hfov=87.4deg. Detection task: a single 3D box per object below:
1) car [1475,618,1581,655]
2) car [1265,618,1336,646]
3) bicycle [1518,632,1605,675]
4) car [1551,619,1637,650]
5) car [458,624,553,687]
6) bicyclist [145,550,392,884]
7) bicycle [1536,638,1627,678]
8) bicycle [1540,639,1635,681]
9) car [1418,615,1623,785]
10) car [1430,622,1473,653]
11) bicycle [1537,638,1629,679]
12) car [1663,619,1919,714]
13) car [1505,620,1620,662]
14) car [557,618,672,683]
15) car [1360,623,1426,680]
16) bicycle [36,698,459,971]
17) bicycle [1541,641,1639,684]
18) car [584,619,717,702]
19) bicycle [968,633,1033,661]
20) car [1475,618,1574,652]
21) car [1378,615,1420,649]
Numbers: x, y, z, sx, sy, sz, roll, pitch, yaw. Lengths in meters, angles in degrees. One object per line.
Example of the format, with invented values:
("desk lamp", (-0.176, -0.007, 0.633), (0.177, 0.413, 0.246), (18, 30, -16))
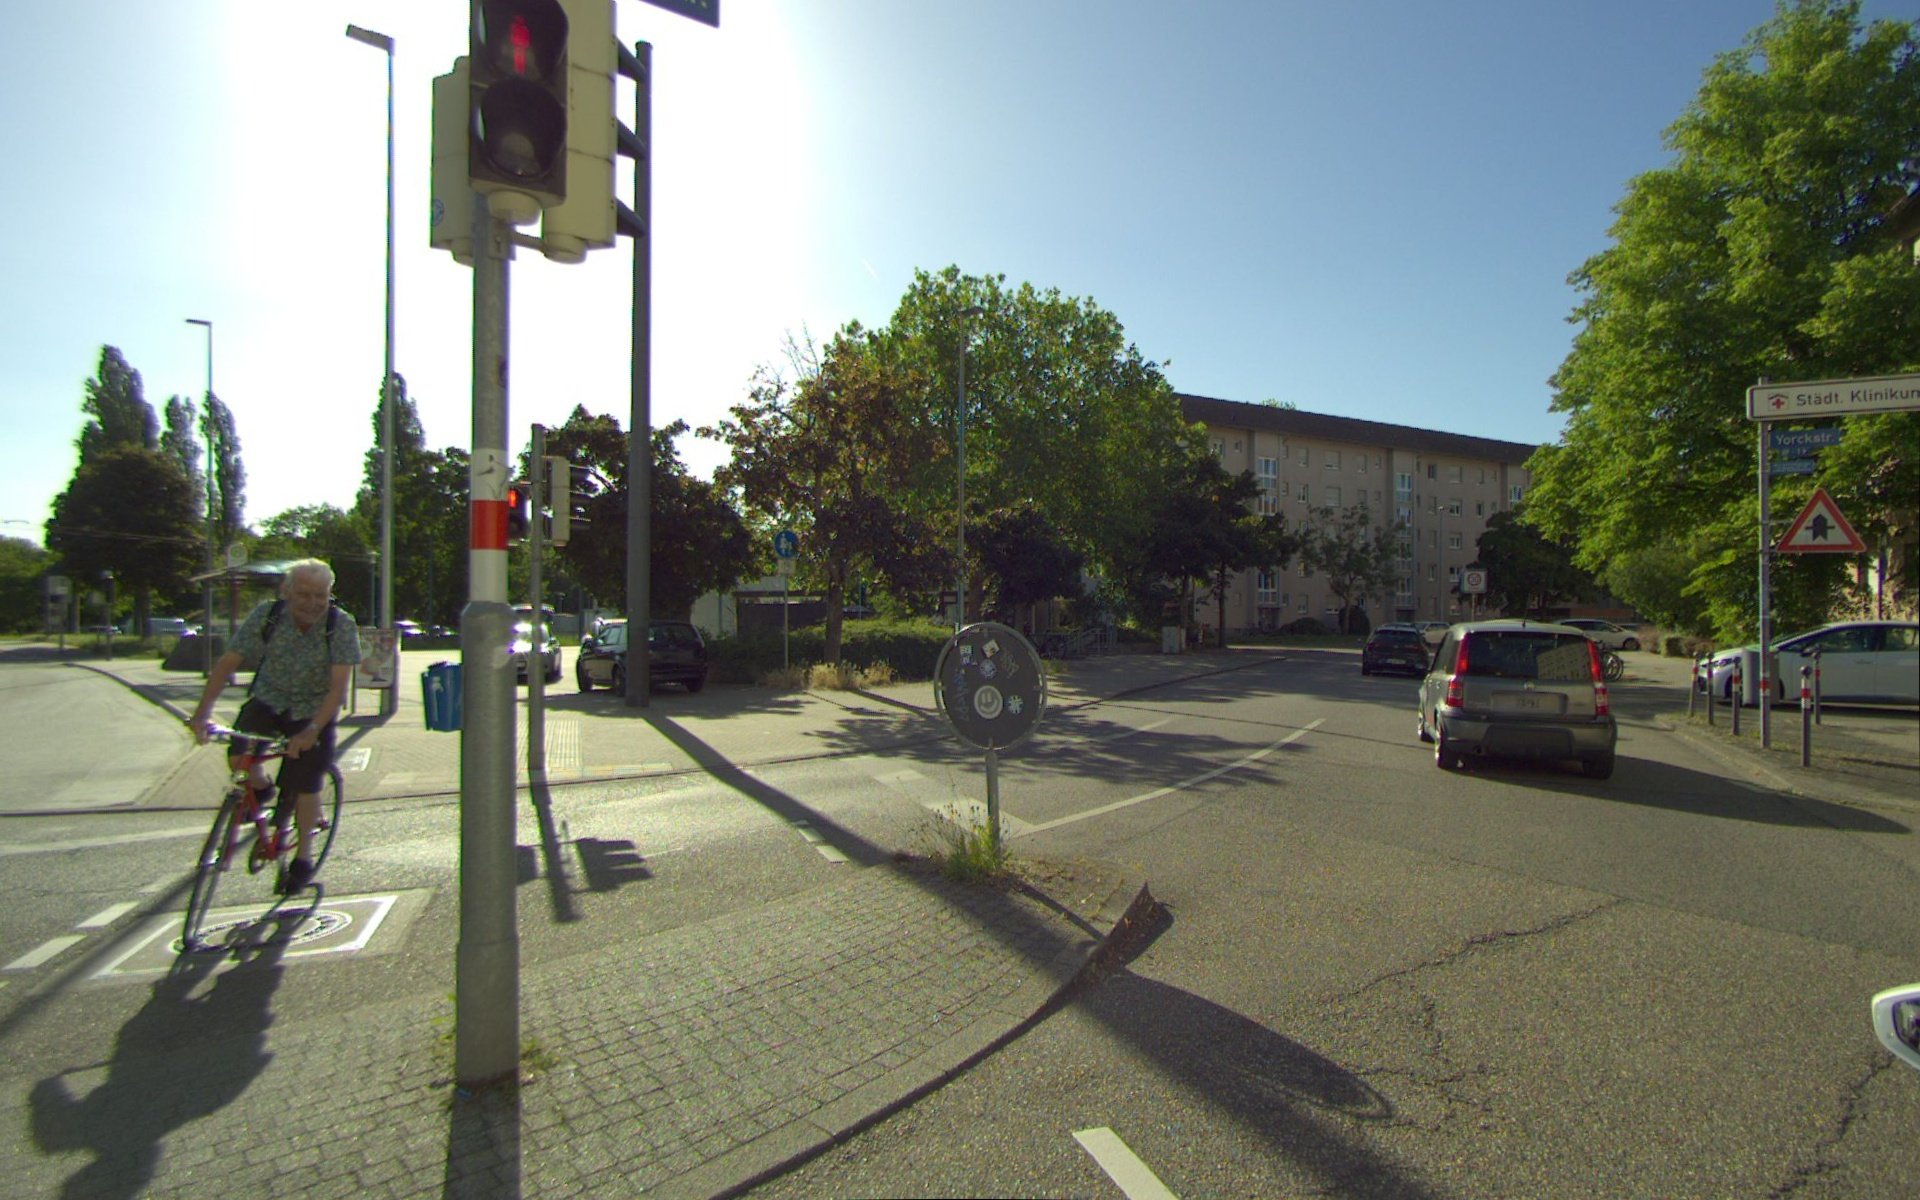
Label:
("car", (23.841, 1.518, 42.208), (3.521, 1.501, 1.622), (0, -1, 2))
("car", (22.838, 2.157, 67.516), (2.042, 1.821, 4.395), (1, -2, -27))
("bicycle", (17.138, 1.526, 28.660), (1.994, 1.192, 0.668), (-1, -1, 18))
("car", (31.515, 1.701, 49.994), (3.531, 1.501, 1.617), (-1, -1, 33))
("car", (-12.069, 1.398, 26.575), (1.667, 1.528, 3.561), (1, -1, -35))
("bicyclist", (-3.458, 0.565, 5.083), (0.812, 1.584, 0.596), (0, -1, -2))
("bicycle", (16.590, 1.549, 26.850), (1.994, 1.044, 0.448), (-1, -1, 18))
("bicycle", (16.142, 1.544, 25.886), (1.994, 1.044, 0.571), (-1, -1, 18))
("car", (6.053, 0.976, 11.174), (1.590, 1.582, 3.256), (0, -1, 22))
("car", (25.815, 1.937, 52.674), (1.655, 1.528, 3.587), (0, -1, 32))
("bicycle", (16.359, 1.537, 26.407), (1.994, 1.044, 0.469), (-1, -1, 18))
("car", (15.434, 1.105, 17.670), (4.951, 1.538, 1.918), (-1, -1, 33))
("car", (21.735, 1.460, 36.308), (3.192, 1.501, 1.622), (0, -1, 2))
("car", (-9.350, 1.308, 27.011), (1.783, 1.600, 3.958), (1, -2, -37))
("car", (12.520, 1.427, 29.198), (1.651, 1.528, 3.757), (0, -1, 22))
("bicycle", (-3.461, 1.073, 5.174), (0.813, 0.999, 1.946), (0, -1, -2))
("bicycle", (15.806, 1.560, 25.252), (1.994, 1.044, 0.571), (-1, -1, 18))
("car", (-6.576, 1.189, 21.134), (1.667, 1.528, 3.561), (-2, 0, -35))
("bicycle", (1.460, 1.688, 36.206), (2.268, 0.995, 0.557), (0, -1, 23))
("car", (25.131, 1.539, 44.800), (3.521, 1.501, 1.622), (0, -1, 2))
("car", (20.233, 1.449, 46.275), (1.652, 1.528, 3.593), (0, -1, 26))
